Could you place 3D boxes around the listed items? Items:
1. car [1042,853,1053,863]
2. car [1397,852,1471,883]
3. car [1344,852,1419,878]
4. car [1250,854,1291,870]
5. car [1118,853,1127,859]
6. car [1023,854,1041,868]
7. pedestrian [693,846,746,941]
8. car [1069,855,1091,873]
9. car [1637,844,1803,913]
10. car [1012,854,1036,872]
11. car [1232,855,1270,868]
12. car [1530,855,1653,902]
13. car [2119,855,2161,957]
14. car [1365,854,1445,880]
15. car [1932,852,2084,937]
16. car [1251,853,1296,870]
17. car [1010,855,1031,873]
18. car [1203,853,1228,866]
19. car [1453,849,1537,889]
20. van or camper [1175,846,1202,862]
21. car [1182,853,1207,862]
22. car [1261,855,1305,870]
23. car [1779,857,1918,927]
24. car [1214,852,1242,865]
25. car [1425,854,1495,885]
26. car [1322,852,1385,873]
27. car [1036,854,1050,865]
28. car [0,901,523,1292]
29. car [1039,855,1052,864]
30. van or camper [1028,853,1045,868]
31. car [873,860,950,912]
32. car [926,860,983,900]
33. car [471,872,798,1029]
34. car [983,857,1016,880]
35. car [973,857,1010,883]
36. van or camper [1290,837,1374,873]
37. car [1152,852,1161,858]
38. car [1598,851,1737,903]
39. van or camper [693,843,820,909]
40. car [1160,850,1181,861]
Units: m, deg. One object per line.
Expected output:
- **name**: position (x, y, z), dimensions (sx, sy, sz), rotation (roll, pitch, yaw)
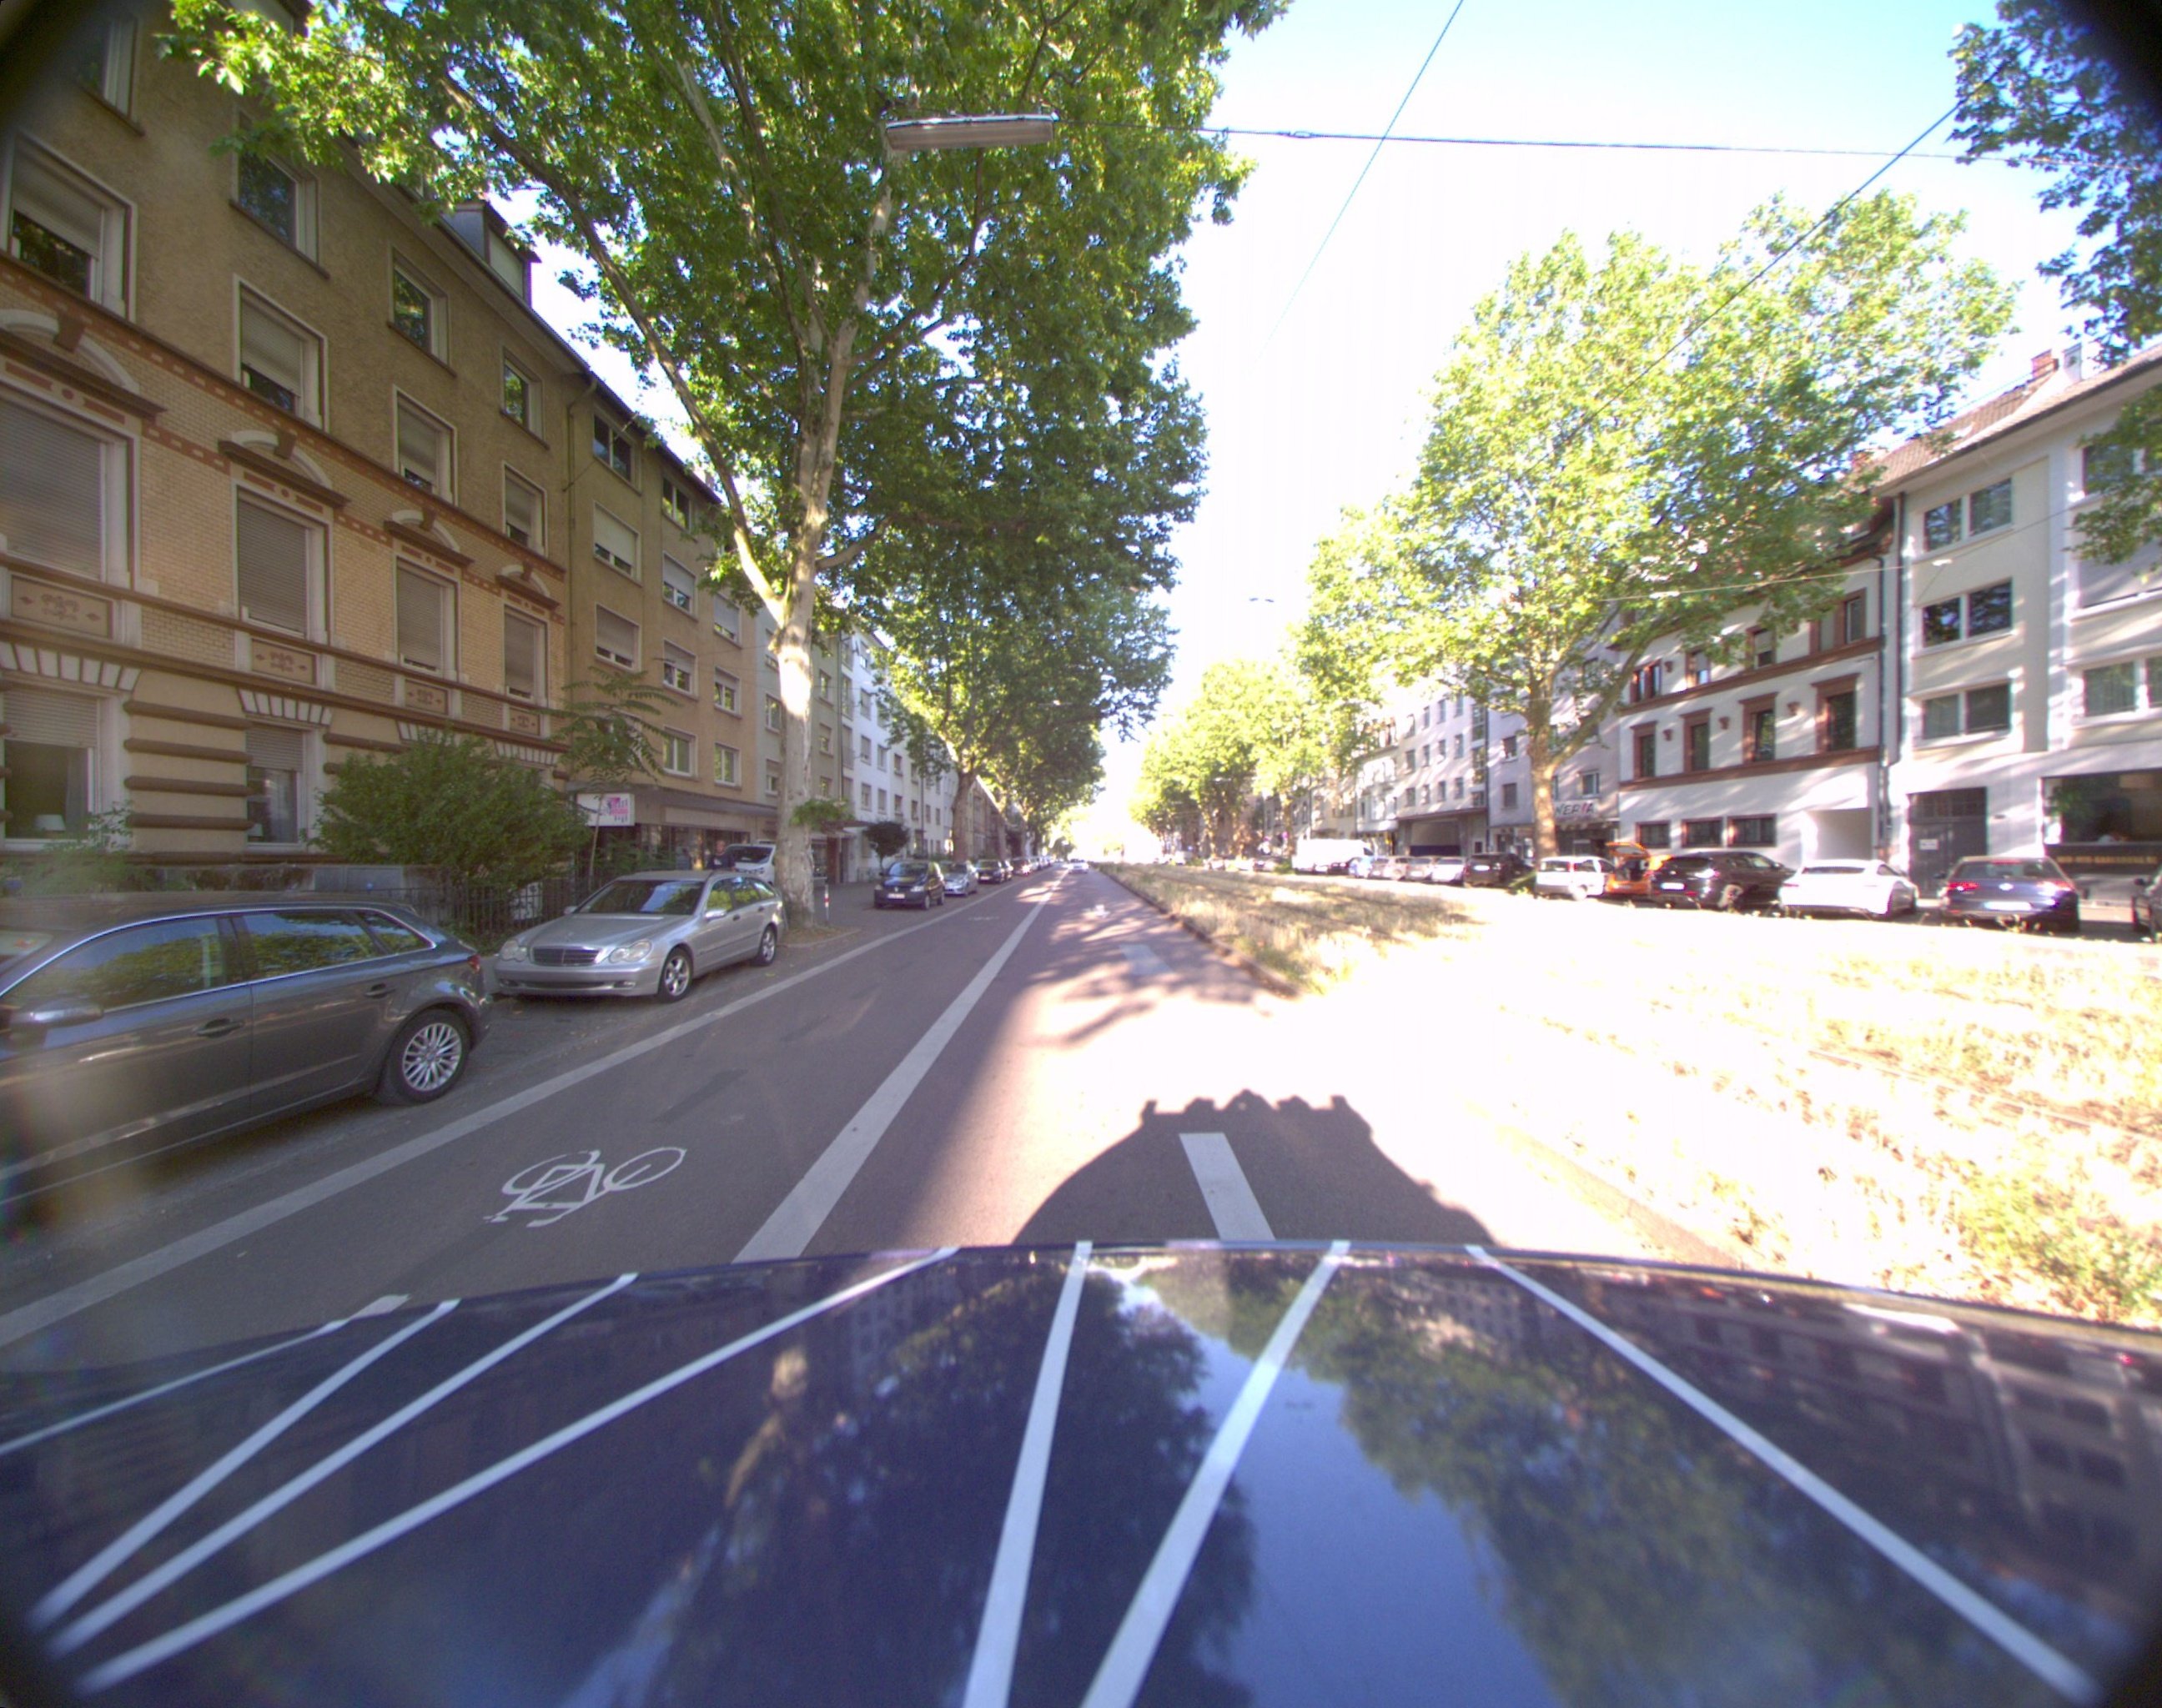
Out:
- **car**: position (-5.595, 0.646, 127.097), dimensions (1.791, 1.585, 4.013), rotation (1, 0, -2)
- **car**: position (19.067, 0.700, 40.961), dimensions (4.006, 1.414, 1.752), rotation (-3, 1, -34)
- **car**: position (18.966, 0.688, 48.048), dimensions (3.998, 1.412, 1.857), rotation (-3, 1, -4)
- **car**: position (19.222, 0.800, 76.937), dimensions (4.008, 1.524, 1.821), rotation (1, -1, -36)
- **car**: position (11.290, 0.600, 205.347), dimensions (1.997, 1.477, 4.002), rotation (-2, 1, 8)
- **car**: position (-5.544, 0.794, 86.413), dimensions (1.702, 1.517, 4.194), rotation (0, 0, 0)
- **pedestrian**: position (-7.812, 0.828, 16.451), dimensions (0.684, 2.002, 1.011), rotation (0, 1, -3)
- **car**: position (-0.074, 0.870, 69.501), dimensions (1.893, 1.501, 4.000), rotation (-3, 1, 1)
- **car**: position (18.301, 0.681, 21.761), dimensions (4.370, 1.776, 1.989), rotation (1, 1, -26)
- **car**: position (-5.481, 0.811, 73.270), dimensions (1.999, 1.557, 4.663), rotation (2, 1, 0)
- **car**: position (18.212, 0.780, 81.441), dimensions (3.687, 1.382, 1.822), rotation (-1, 0, -31)
- **car**: position (18.042, 0.806, 26.823), dimensions (4.369, 1.440, 1.655), rotation (-2, 1, -26)
- **car**: position (19.060, 0.809, 12.695), dimensions (4.007, 1.433, 1.717), rotation (-3, 1, -41)
- **car**: position (19.175, 0.754, 45.091), dimensions (4.002, 1.483, 1.948), rotation (0, 0, -13)
- **car**: position (19.365, 0.767, 16.035), dimensions (4.007, 1.433, 1.797), rotation (-3, 1, -43)
- **car**: position (18.647, 0.714, 73.557), dimensions (4.169, 1.583, 1.932), rotation (2, -1, -36)
- **car**: position (-5.279, 0.860, 66.494), dimensions (1.748, 1.455, 4.024), rotation (-1, 0, -5)
- **car**: position (15.048, 0.642, 85.190), dimensions (1.825, 1.382, 4.483), rotation (2, 0, -1)
- **car**: position (18.689, 0.654, 34.243), dimensions (4.008, 1.651, 1.995), rotation (-1, 0, -41)
- **van or camper**: position (18.363, 0.023, 129.729), dimensions (4.371, 2.386, 2.196), rotation (-4, 2, -40)
- **car**: position (18.977, 0.586, 127.206), dimensions (4.006, 1.240, 1.726), rotation (-4, 1, -34)
- **car**: position (18.701, 0.811, 70.270), dimensions (4.014, 1.349, 1.797), rotation (1, 0, -37)
- **car**: position (18.655, 0.851, 18.412), dimensions (4.212, 1.325, 1.718), rotation (-3, 1, -36)
- **car**: position (18.834, 0.631, 97.416), dimensions (1.726, 1.643, 4.009), rotation (-1, -1, 40)
- **car**: position (18.915, 0.739, 37.880), dimensions (4.008, 1.377, 1.907), rotation (-2, 0, -45)
- **car**: position (19.708, 0.626, 54.953), dimensions (4.004, 1.482, 1.996), rotation (0, 0, -22)
- **car**: position (-5.484, 0.788, 109.735), dimensions (1.790, 1.609, 3.829), rotation (1, 0, 0)
- **car**: position (-5.178, 1.064, 3.668), dimensions (1.714, 1.388, 4.321), rotation (0, 0, 1)
- **car**: position (-5.609, 0.835, 119.808), dimensions (1.790, 1.458, 3.569), rotation (1, 0, 0)
- **van or camper**: position (-5.409, 0.766, 92.711), dimensions (1.790, 1.710, 4.379), rotation (1, 0, 1)
- **car**: position (-5.424, 0.968, 24.728), dimensions (1.658, 1.536, 3.999), rotation (0, 0, -1)
- **car**: position (-5.307, 1.054, 32.484), dimensions (1.699, 1.533, 4.776), rotation (0, 0, -1)
- **car**: position (-5.339, 1.021, 9.935), dimensions (1.678, 1.443, 4.570), rotation (0, 0, -2)
- **car**: position (-5.400, 0.928, 50.574), dimensions (1.713, 1.407, 4.363), rotation (2, 0, 0)
- **car**: position (-5.314, 0.919, 45.683), dimensions (1.713, 1.407, 4.363), rotation (2, 0, 0)
- **van or camper**: position (18.984, 0.040, 57.462), dimensions (5.974, 2.631, 2.175), rotation (-1, 0, -20)
- **car**: position (20.189, 0.327, 202.886), dimensions (1.998, 1.412, 4.000), rotation (-2, 1, 2)
- **car**: position (19.502, 0.728, 25.272), dimensions (4.003, 1.471, 1.774), rotation (-3, 1, -20)
- **van or camper**: position (-10.433, 0.643, 24.963), dimensions (1.947, 1.911, 5.390), rotation (0, 0, -1)
- **car**: position (18.317, 0.379, 154.817), dimensions (4.007, 2.002, 1.995), rotation (-3, 1, -42)
